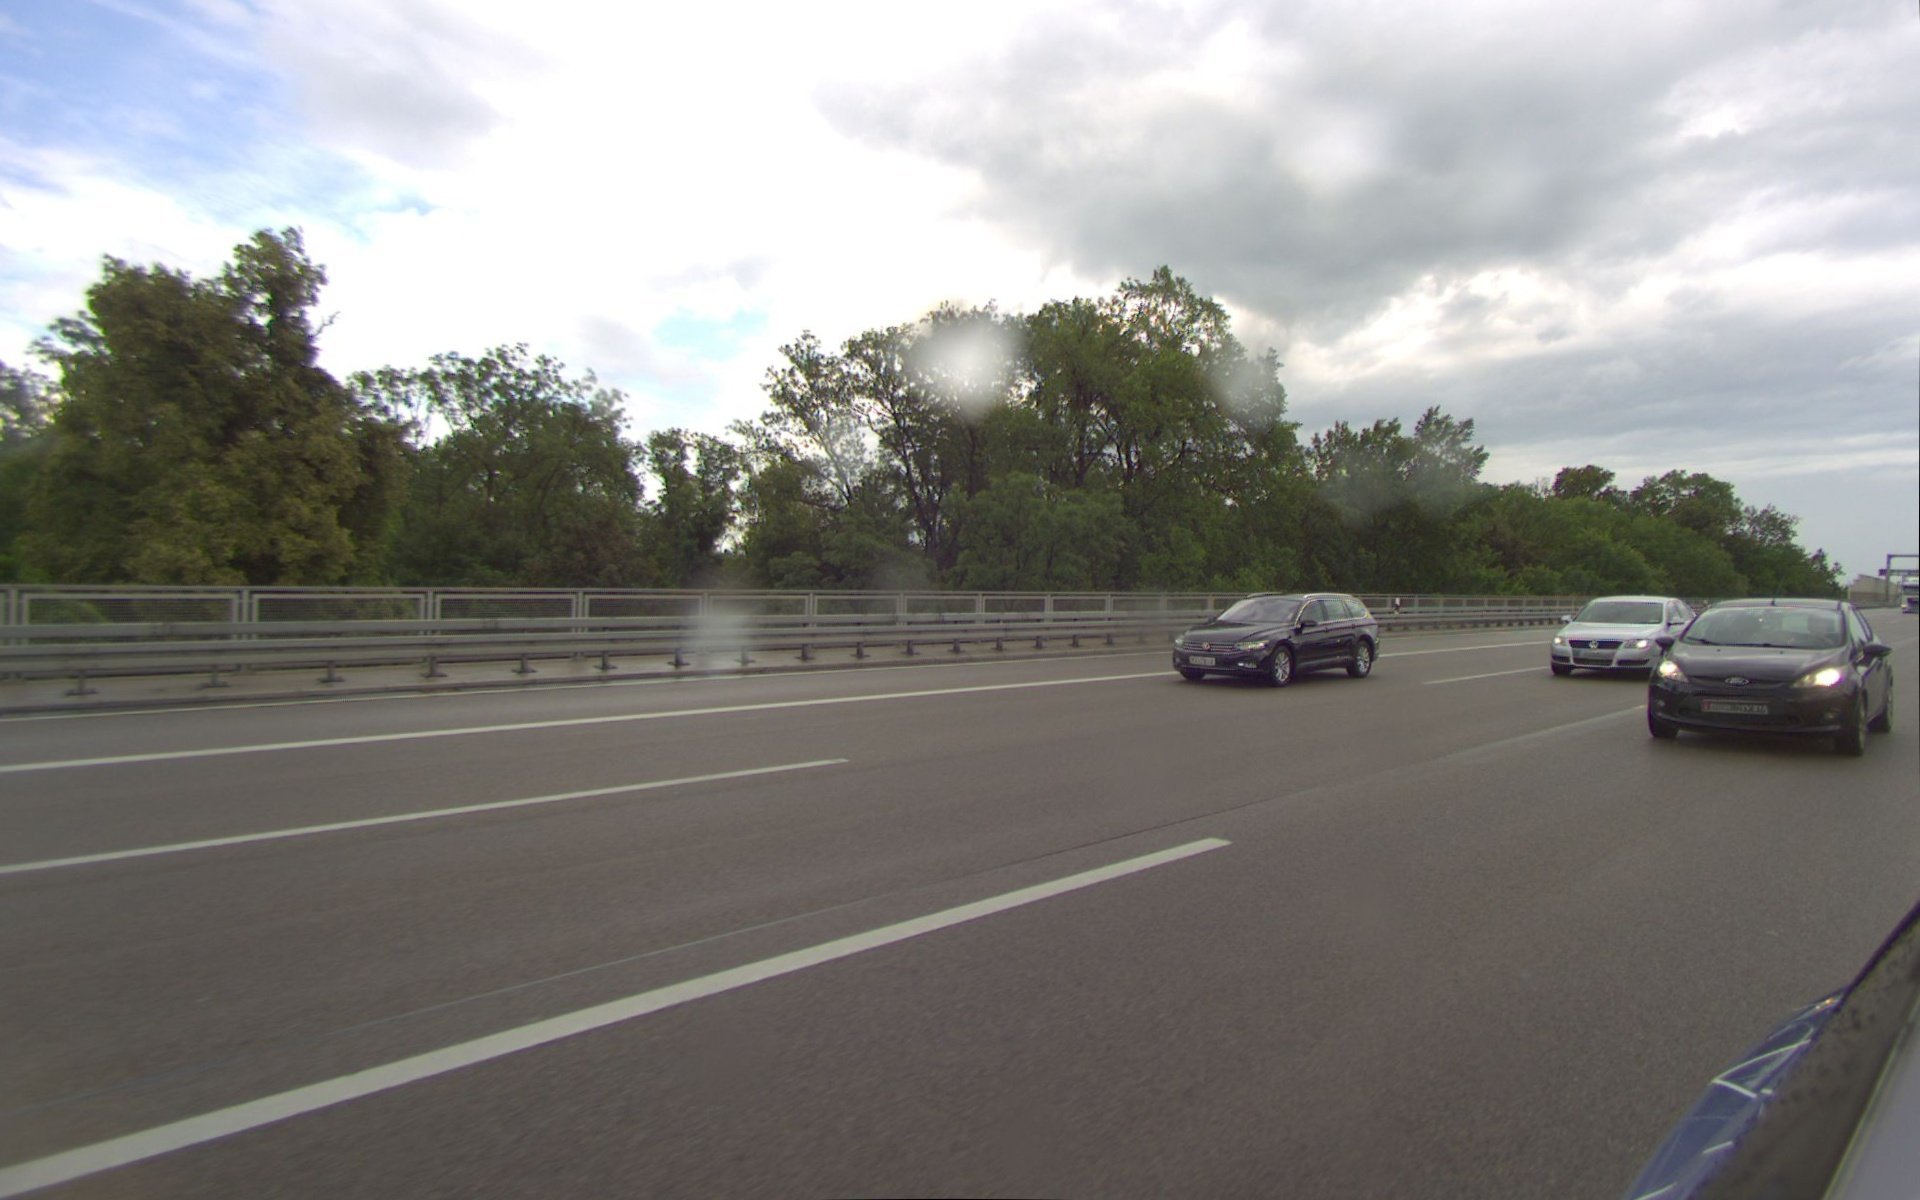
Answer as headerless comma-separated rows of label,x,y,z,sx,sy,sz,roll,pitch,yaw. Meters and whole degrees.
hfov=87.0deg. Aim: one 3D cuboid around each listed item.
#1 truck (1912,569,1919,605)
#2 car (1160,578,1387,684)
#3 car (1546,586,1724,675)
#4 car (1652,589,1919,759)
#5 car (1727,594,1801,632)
truck,109.467,-1.440,113.882,3.247,3.956,12.117,0,0,44
car,5.408,0.448,17.162,4.285,1.562,1.817,0,1,-44
car,12.670,0.493,18.892,4.175,1.465,1.895,0,1,-44
car,9.040,0.623,10.937,4.331,1.458,1.666,-1,1,-43
car,33.380,0.492,41.970,4.511,1.465,1.779,0,1,-44
